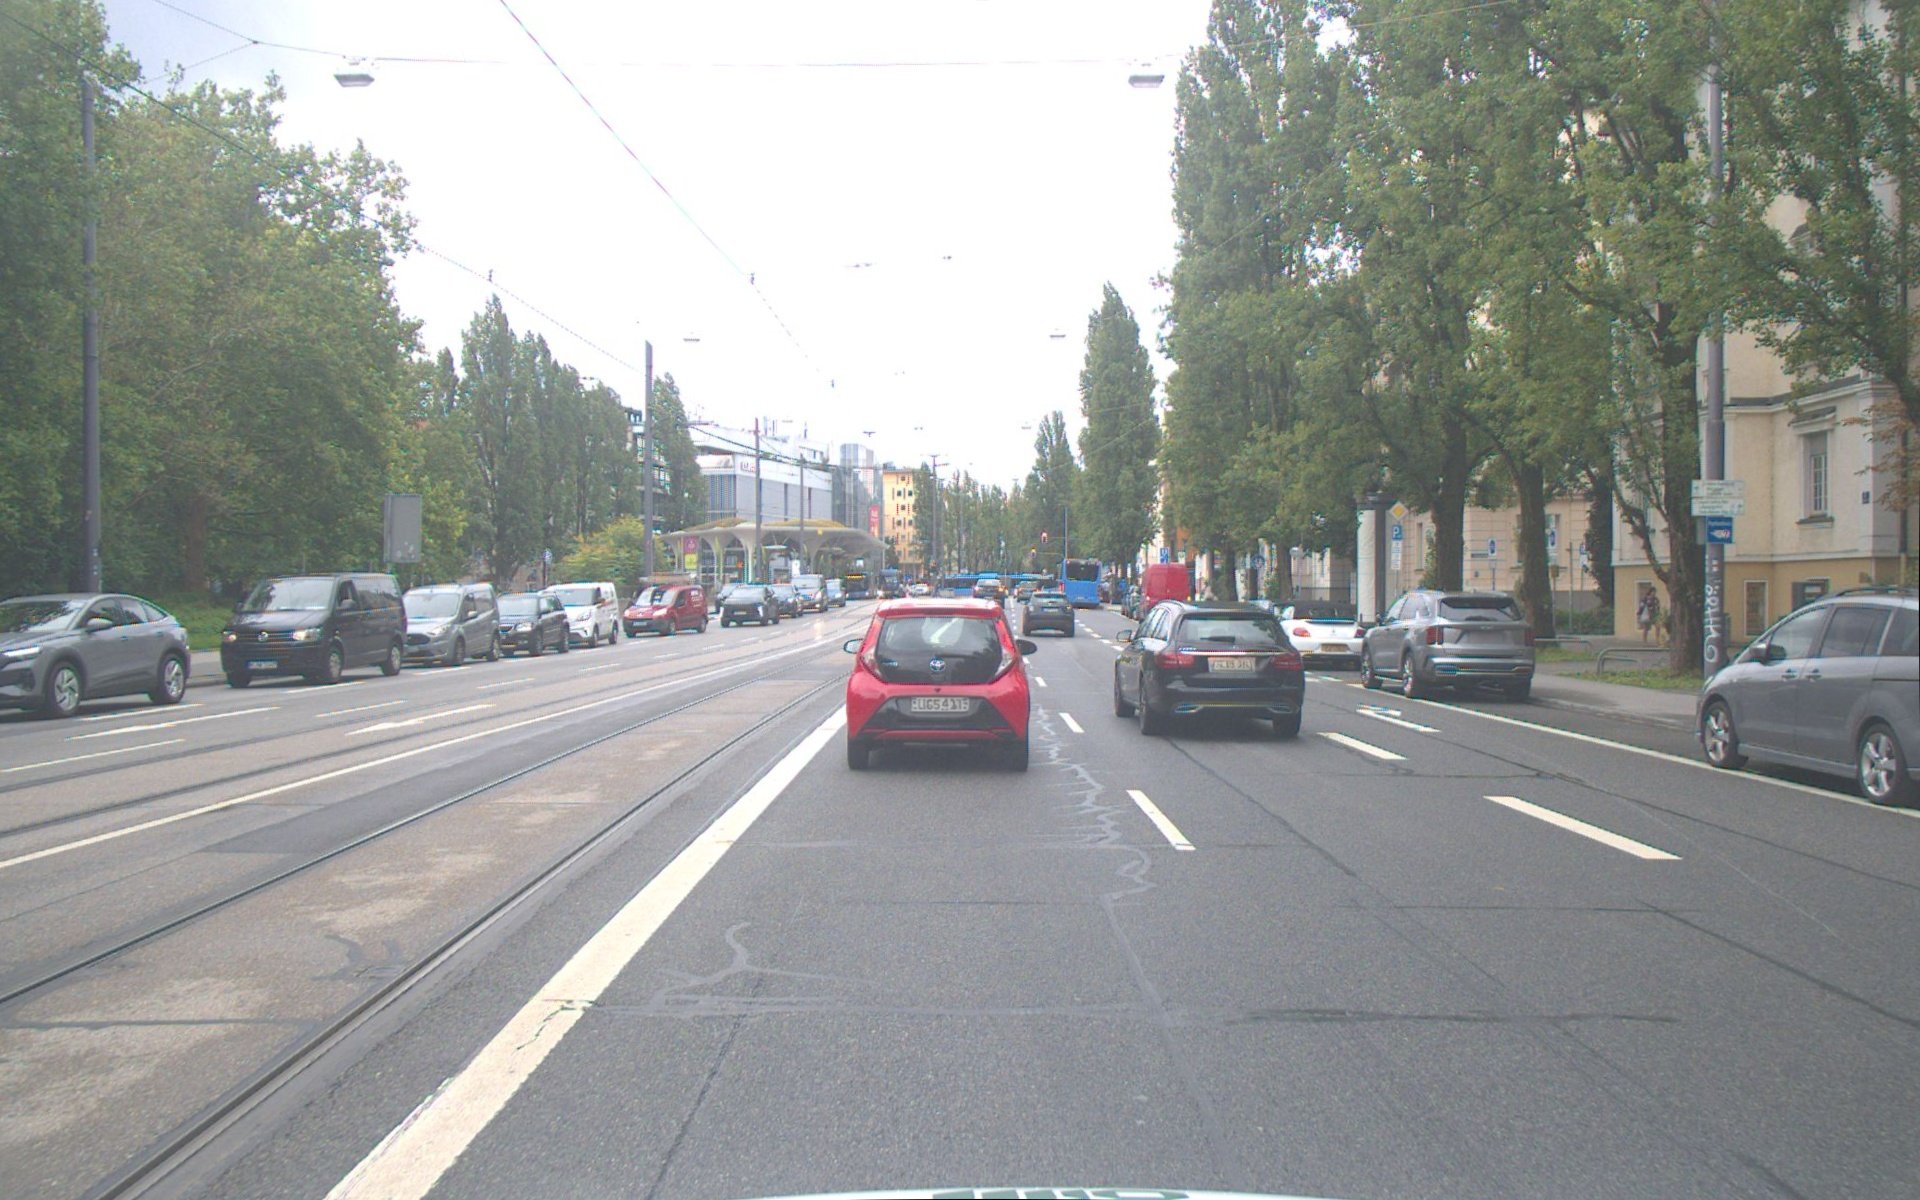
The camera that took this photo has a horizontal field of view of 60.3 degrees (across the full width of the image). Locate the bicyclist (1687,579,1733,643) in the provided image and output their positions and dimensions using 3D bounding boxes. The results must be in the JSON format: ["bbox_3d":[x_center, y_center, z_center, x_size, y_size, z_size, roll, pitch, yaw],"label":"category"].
[{"bbox_3d":[16.084,0.232,35.461,0.646,1.337,0.706,-1,0,-1],"label":"bicyclist"}]

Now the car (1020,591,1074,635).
[{"bbox_3d":[3.023,0.431,58.315,1.744,1.512,4.000,0,0,1],"label":"car"}]

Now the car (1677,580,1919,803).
[{"bbox_3d":[7.935,0.655,13.951,1.762,1.640,4.546,-1,0,0],"label":"car"}]

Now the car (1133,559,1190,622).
[{"bbox_3d":[8.769,-0.467,72.255,1.952,2.619,4.681,0,2,1],"label":"car"}]

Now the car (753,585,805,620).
[{"bbox_3d":[-8.541,0.098,78.362,1.762,1.557,4.520,-2,0,2],"label":"car"}]

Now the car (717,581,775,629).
[{"bbox_3d":[-8.739,0.184,67.896,1.763,1.819,4.518,-2,0,-1],"label":"car"}]

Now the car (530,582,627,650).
[{"bbox_3d":[-11.451,0.449,49.920,1.762,1.894,4.631,-2,0,0],"label":"car"}]

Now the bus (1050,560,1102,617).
[{"bbox_3d":[7.597,-0.861,109.615,2.846,3.455,10.809,0,2,1],"label":"bus"}]

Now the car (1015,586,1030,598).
[{"bbox_3d":[7.624,-1.011,203.454,1.744,1.512,4.000,0,0,1],"label":"car"}]

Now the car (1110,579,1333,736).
[{"bbox_3d":[2.930,0.566,19.531,1.825,1.576,4.703,-1,1,-1],"label":"car"}]

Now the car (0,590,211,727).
[{"bbox_3d":[-12.197,0.720,22.587,1.762,1.663,4.589,-1,0,1],"label":"car"}]

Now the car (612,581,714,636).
[{"bbox_3d":[-10.524,0.273,58.934,1.761,1.819,4.522,-2,0,15],"label":"car"}]

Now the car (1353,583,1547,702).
[{"bbox_3d":[7.949,0.623,27.302,1.762,1.773,4.700,-1,0,0],"label":"car"}]

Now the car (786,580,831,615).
[{"bbox_3d":[-7.828,-0.150,85.760,1.762,1.694,4.520,-2,0,1],"label":"car"}]

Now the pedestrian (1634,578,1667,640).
[{"bbox_3d":[17.760,0.218,42.550,0.541,1.574,0.738,0,2,-1],"label":"pedestrian"}]

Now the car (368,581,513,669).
[{"bbox_3d":[-11.747,0.531,37.691,1.762,1.819,4.519,-2,0,1],"label":"car"}]

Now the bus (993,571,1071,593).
[{"bbox_3d":[9.700,-2.434,223.851,10.344,2.895,1.999,0,2,-3],"label":"bus"}]

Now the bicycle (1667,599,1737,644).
[{"bbox_3d":[16.070,0.453,35.852,0.639,0.939,1.902,-1,0,-1],"label":"bicycle"}]

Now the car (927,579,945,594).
[{"bbox_3d":[-2.439,-1.390,166.995,1.744,1.512,4.000,0,0,1],"label":"car"}]

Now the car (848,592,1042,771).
[{"bbox_3d":[-0.170,0.673,15.449,1.596,1.465,3.375,1,0,-2],"label":"car"}]

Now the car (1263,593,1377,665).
[{"bbox_3d":[8.099,0.611,37.523,1.762,1.534,4.000,0,0,1],"label":"car"}]

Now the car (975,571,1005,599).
[{"bbox_3d":[1.711,-0.869,95.496,1.700,1.576,4.577,-1,0,1],"label":"car"}]

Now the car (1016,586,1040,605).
[{"bbox_3d":[5.357,-0.374,130.572,1.744,1.512,4.000,0,0,1],"label":"car"}]

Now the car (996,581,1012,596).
[{"bbox_3d":[5.191,-1.329,194.508,1.766,1.624,4.001,0,-2,4],"label":"car"}]

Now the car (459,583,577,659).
[{"bbox_3d":[-11.549,0.512,43.539,1.762,1.819,4.519,-2,0,1],"label":"car"}]

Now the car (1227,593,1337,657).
[{"bbox_3d":[8.146,0.602,42.210,1.763,1.534,4.448,0,0,-2],"label":"car"}]

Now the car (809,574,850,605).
[{"bbox_3d":[-7.723,-0.628,98.152,1.762,1.694,4.521,-2,0,3],"label":"car"}]

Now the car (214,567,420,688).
[{"bbox_3d":[-11.742,0.458,30.617,1.762,2.025,5.040,-1,0,1],"label":"car"}]
